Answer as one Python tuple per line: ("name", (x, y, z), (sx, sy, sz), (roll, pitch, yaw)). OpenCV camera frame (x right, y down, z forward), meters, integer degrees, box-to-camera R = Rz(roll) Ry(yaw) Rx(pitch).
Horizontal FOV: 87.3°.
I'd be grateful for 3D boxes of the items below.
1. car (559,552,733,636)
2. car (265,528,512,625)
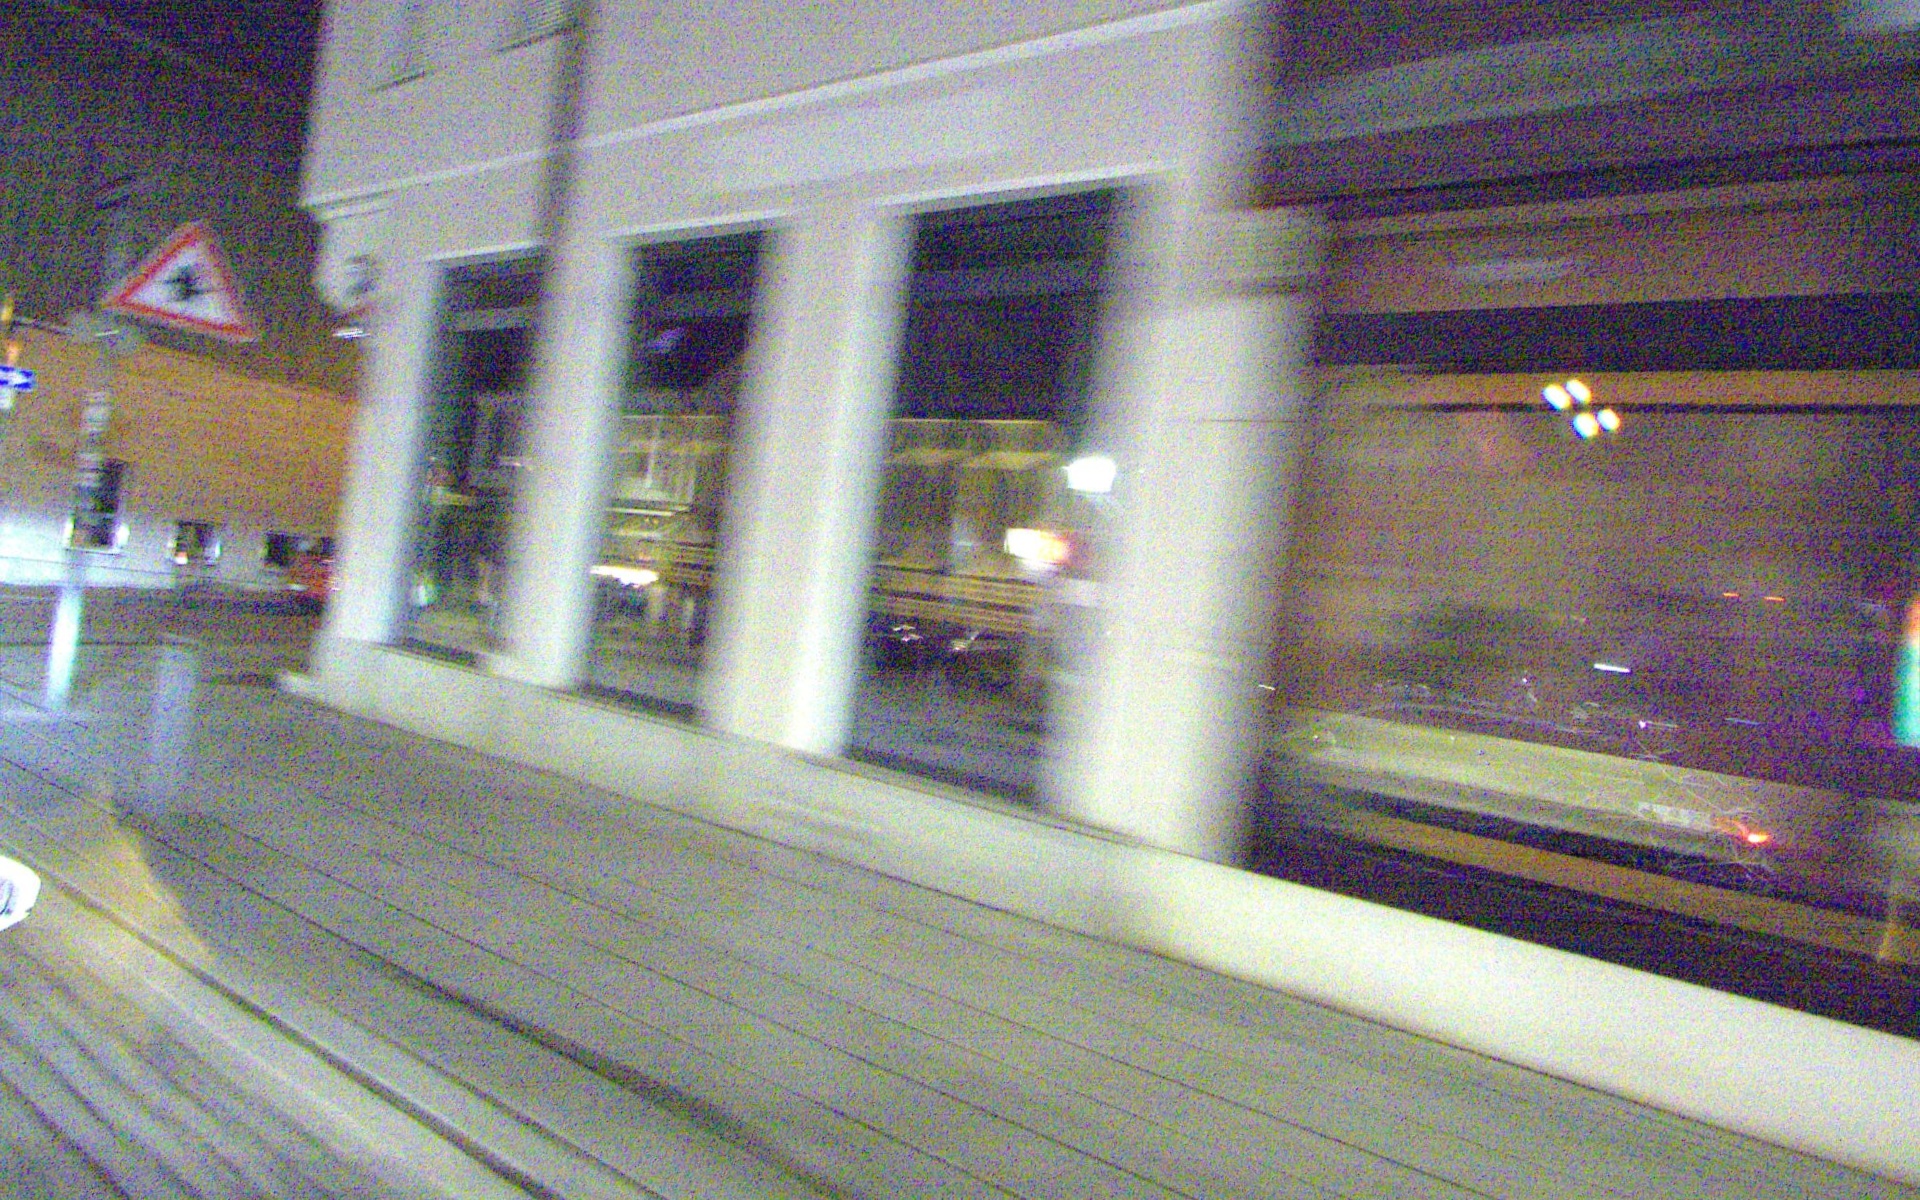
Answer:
("car", (-7.604, -0.090, 24.723), (1.634, 1.607, 3.858), (6, -1, 31))
("car", (-10.648, -0.389, 18.978), (1.697, 1.460, 3.617), (6, 1, 31))
